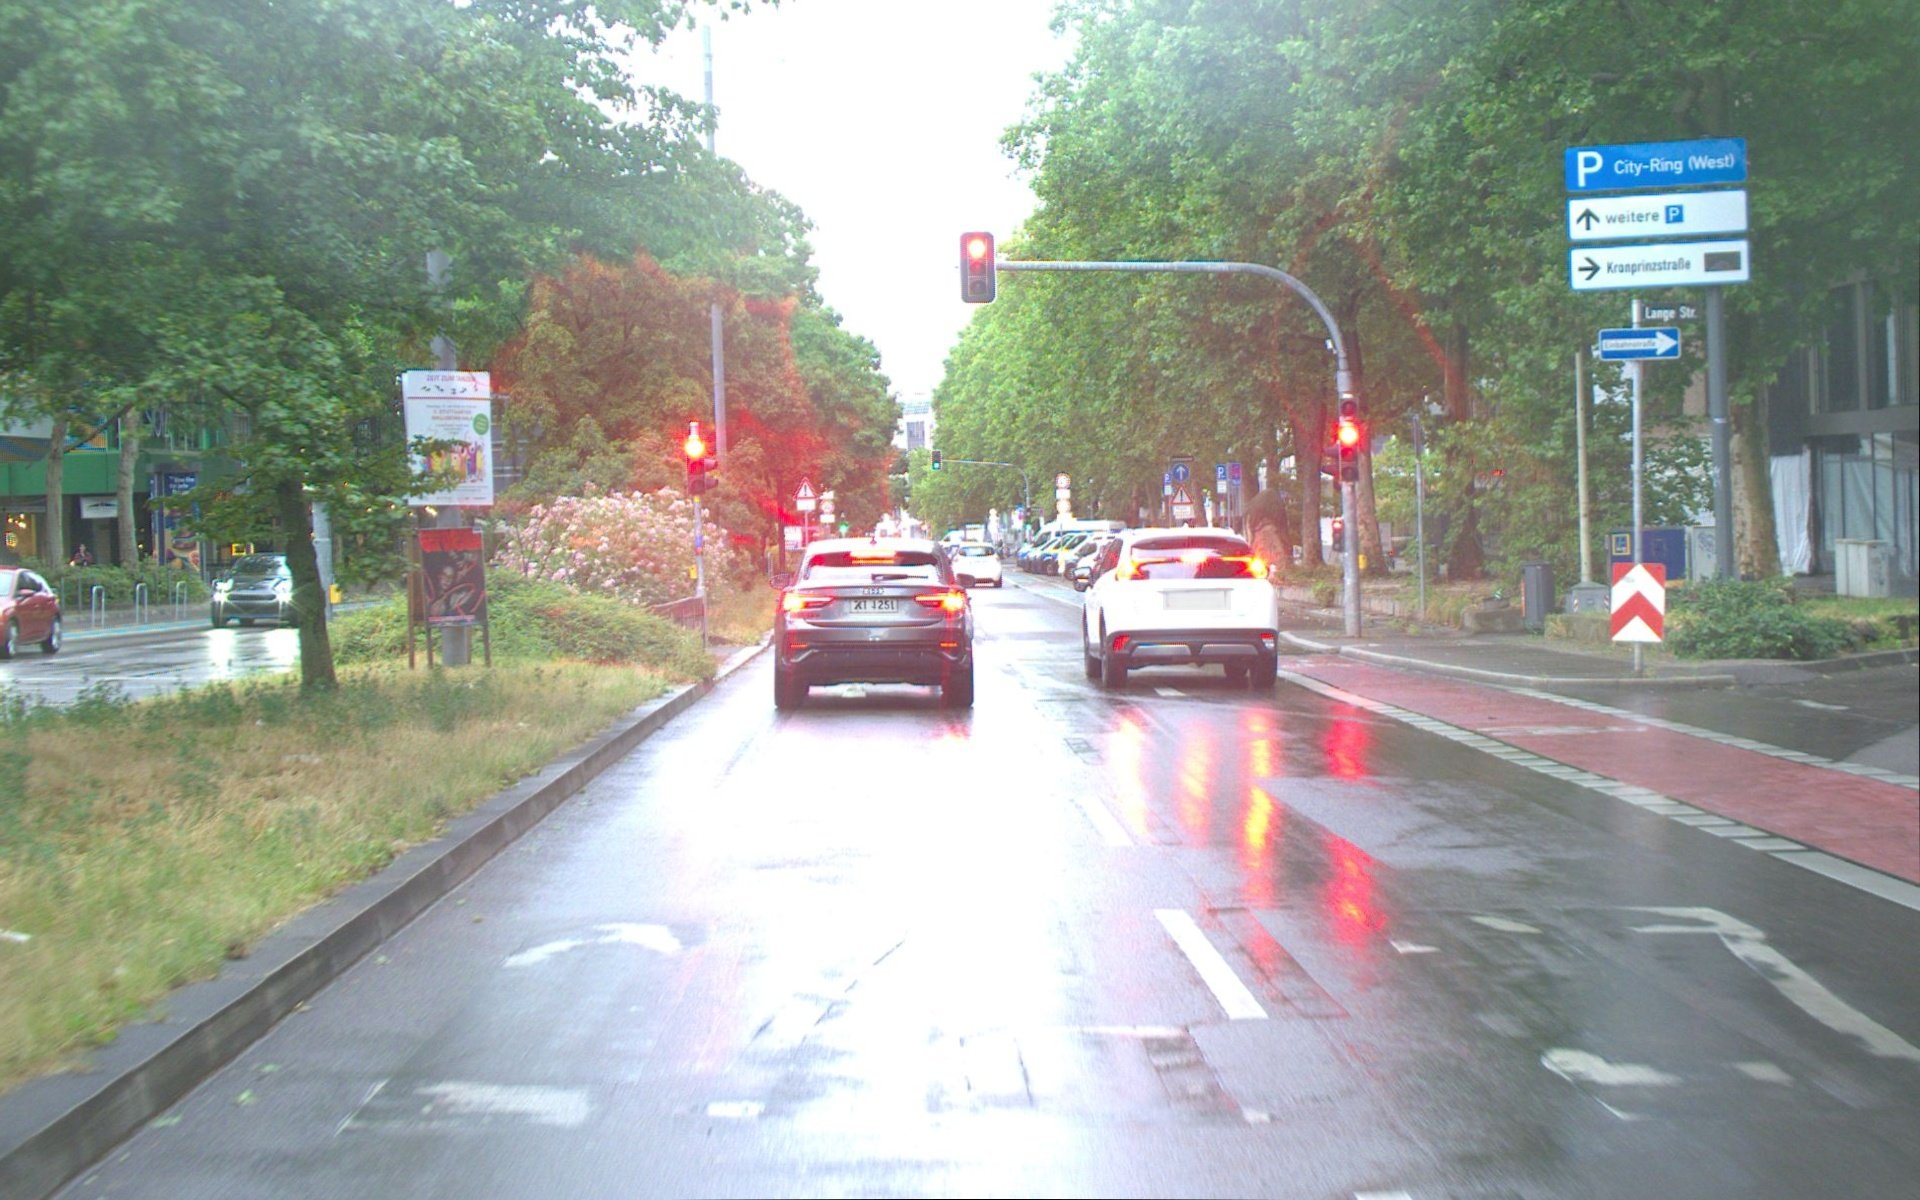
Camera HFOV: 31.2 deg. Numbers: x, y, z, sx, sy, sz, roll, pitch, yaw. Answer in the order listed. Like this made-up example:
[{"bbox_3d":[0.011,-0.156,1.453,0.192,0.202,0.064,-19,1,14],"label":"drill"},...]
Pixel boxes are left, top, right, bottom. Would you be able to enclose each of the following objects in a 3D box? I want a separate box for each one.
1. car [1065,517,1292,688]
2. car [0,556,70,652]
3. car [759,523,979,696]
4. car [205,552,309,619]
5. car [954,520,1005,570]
[{"bbox_3d":[2.271,-0.034,36.969,1.993,1.649,4.889,-1,2,-1],"label":"car"},{"bbox_3d":[-15.588,0.051,55.136,1.614,1.389,4.185,-1,2,-1],"label":"car"},{"bbox_3d":[-0.856,0.042,32.601,1.918,1.486,4.000,-1,1,-1],"label":"car"},{"bbox_3d":[-15.635,-0.335,76.614,1.614,1.389,3.598,-1,1,-1],"label":"car"},{"bbox_3d":[0.669,-1.942,120.199,1.620,1.660,4.001,-2,2,-1],"label":"car"}]
